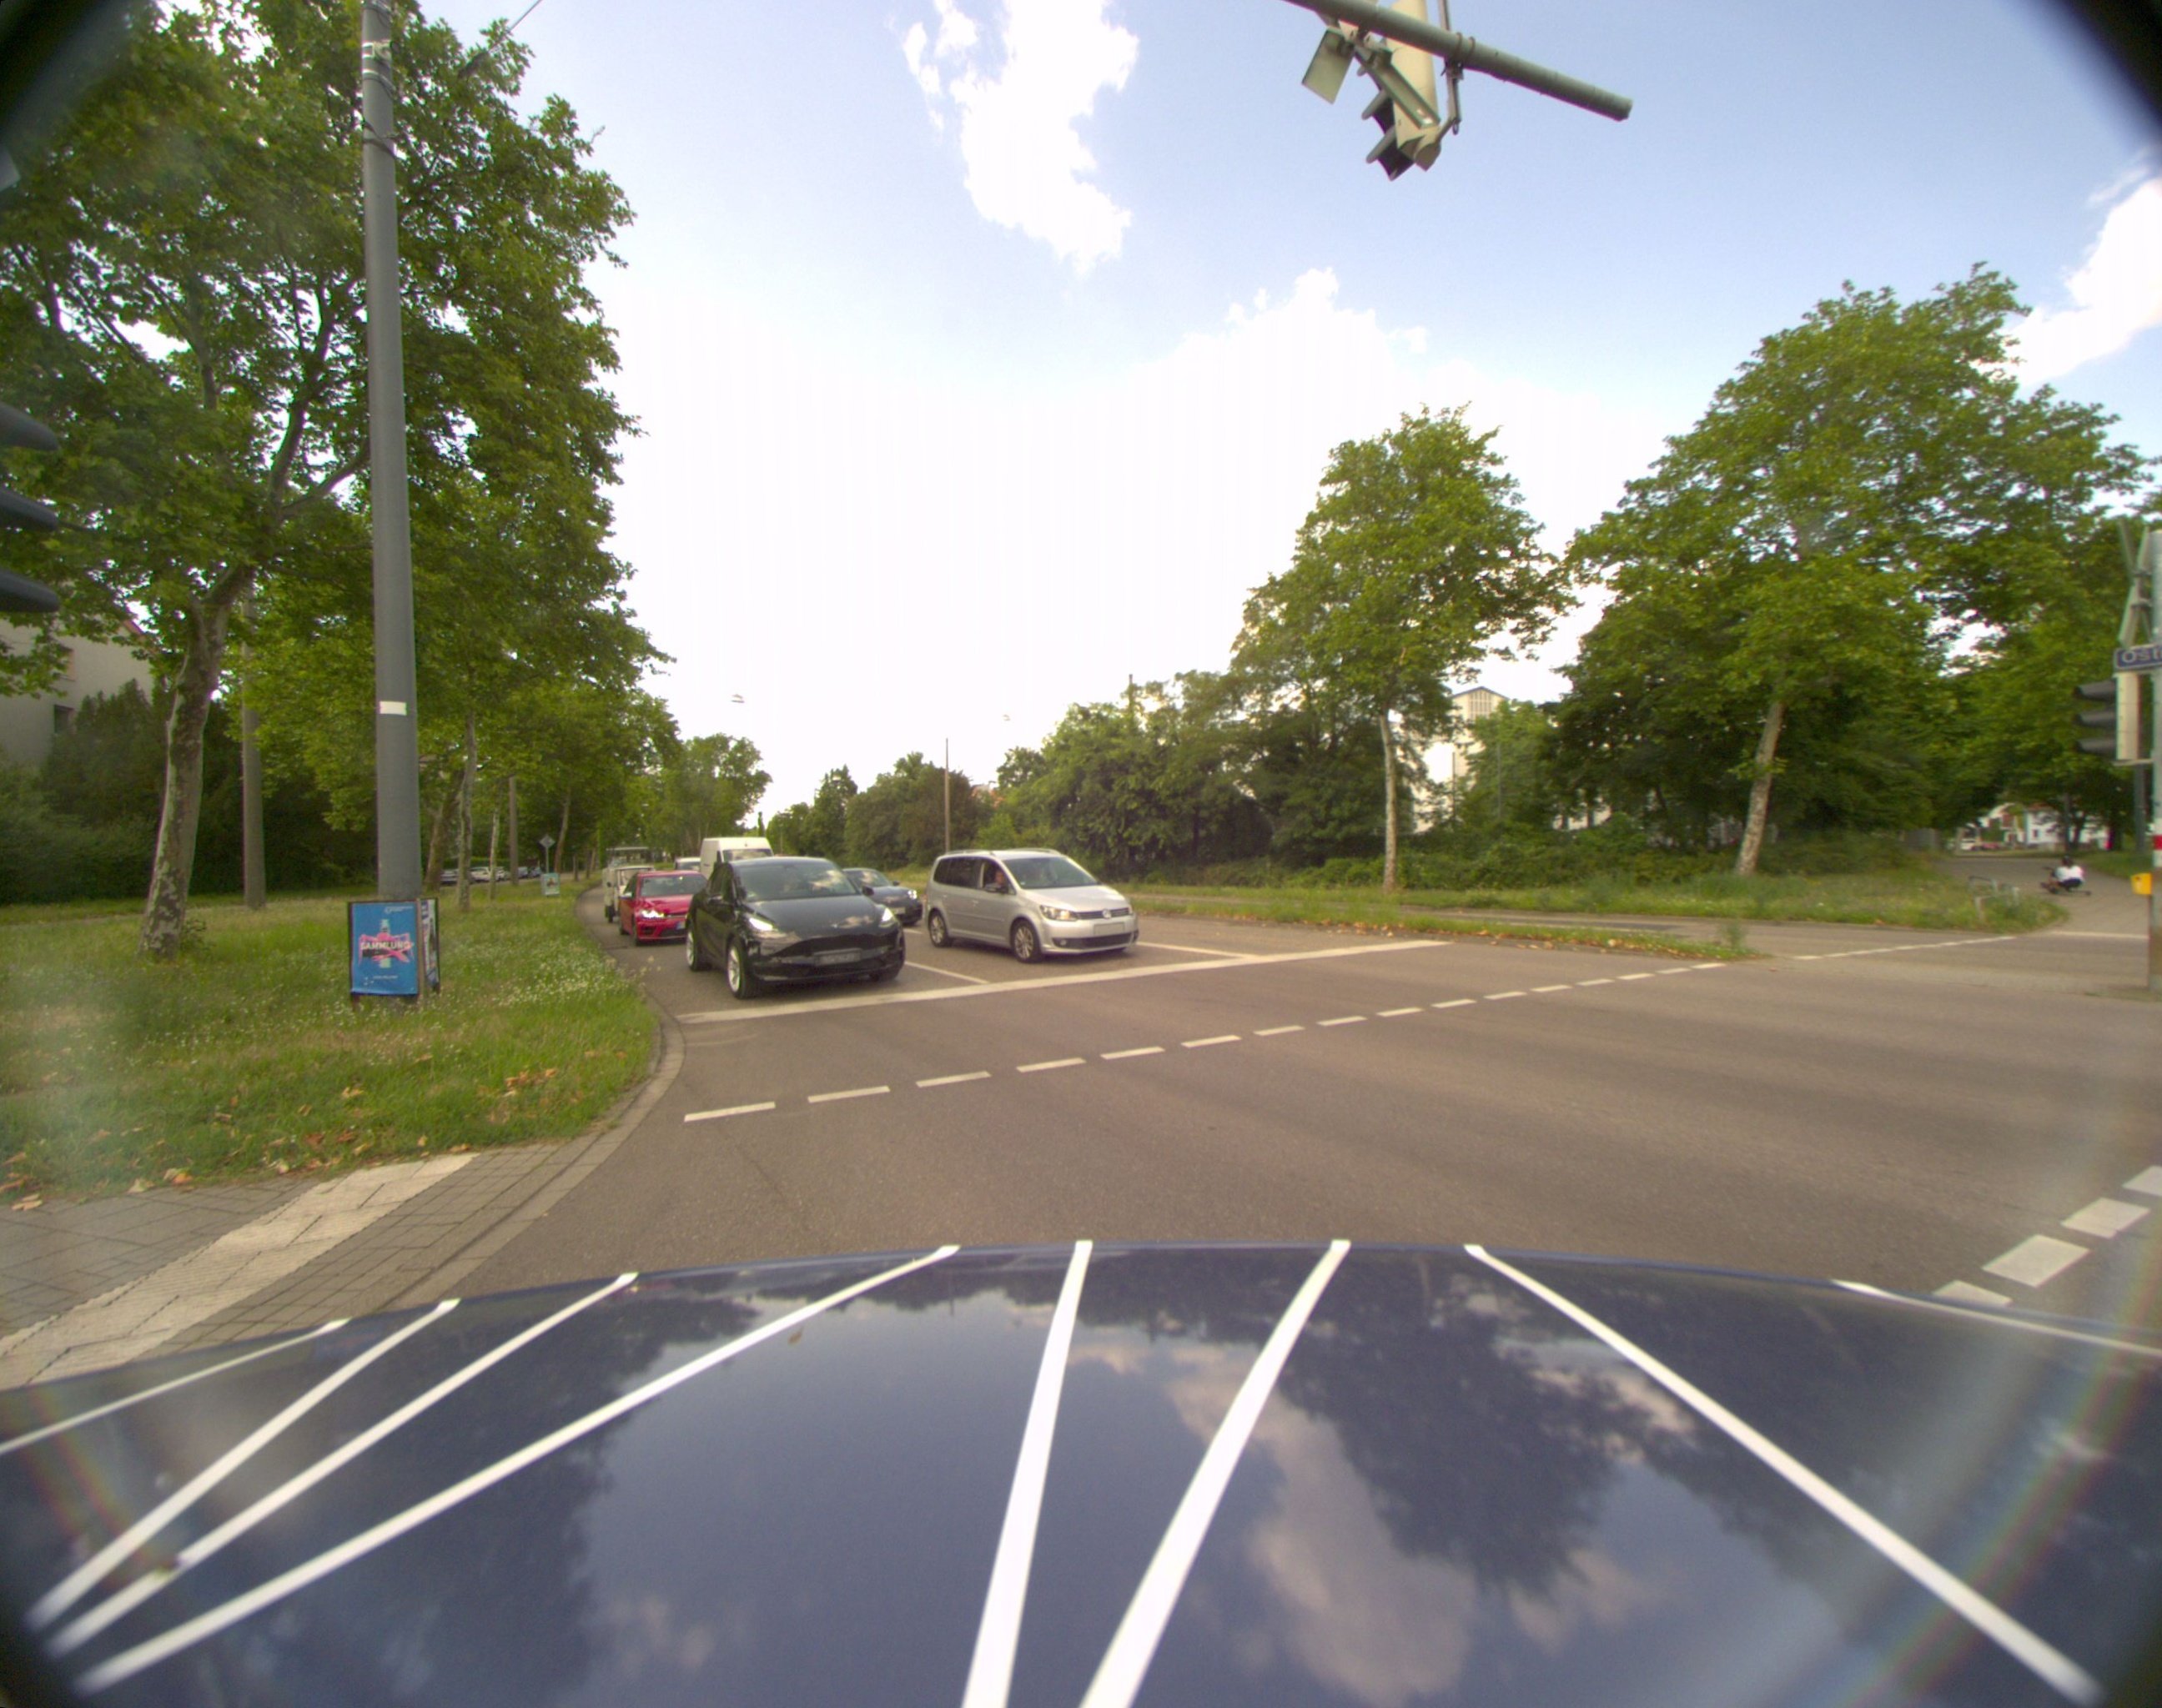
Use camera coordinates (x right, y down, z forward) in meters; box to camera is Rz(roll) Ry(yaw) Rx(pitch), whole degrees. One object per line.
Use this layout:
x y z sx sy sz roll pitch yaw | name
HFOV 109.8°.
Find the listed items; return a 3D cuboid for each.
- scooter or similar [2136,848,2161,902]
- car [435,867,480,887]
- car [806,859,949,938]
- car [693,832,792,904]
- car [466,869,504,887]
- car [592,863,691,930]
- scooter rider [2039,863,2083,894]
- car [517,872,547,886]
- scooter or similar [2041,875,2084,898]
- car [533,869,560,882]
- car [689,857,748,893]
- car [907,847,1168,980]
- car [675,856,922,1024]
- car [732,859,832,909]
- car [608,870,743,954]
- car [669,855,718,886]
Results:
24.594 0.477 17.417 0.777 1.224 0.321 -2 -1 -26 | scooter or similar
-51.941 1.930 63.393 1.778 1.586 3.651 -2 -1 -21 | car
-4.776 0.914 17.434 1.807 1.499 3.989 -4 2 -35 | car
-13.619 0.510 30.315 2.231 2.516 5.917 -3 2 -37 | car
-56.071 2.275 71.514 1.778 1.586 3.651 -2 -1 -21 | car
-12.499 1.104 21.452 1.805 1.561 4.490 -3 2 -37 | car
23.765 0.594 18.431 0.861 0.724 0.611 -1 -1 -39 | scooter rider
-61.903 2.828 85.682 1.778 1.586 3.651 -2 -1 -21 | car
23.783 0.788 18.424 0.859 0.508 0.610 -1 -2 -39 | scooter or similar
-65.240 2.634 92.830 1.778 1.586 3.651 -2 -1 -21 | car
-17.777 0.988 37.208 1.847 1.609 4.145 -3 1 -36 | car
-0.897 0.778 12.166 1.934 1.643 4.490 -3 2 -37 | car
-4.010 0.896 10.220 1.935 1.643 4.568 -3 2 -35 | car
-9.489 0.873 23.909 1.768 1.367 4.332 -3 2 -37 | car
-8.794 1.113 16.263 1.805 1.383 4.490 -3 2 -37 | car
-22.373 0.905 43.772 1.768 1.637 4.332 -1 1 -37 | car
